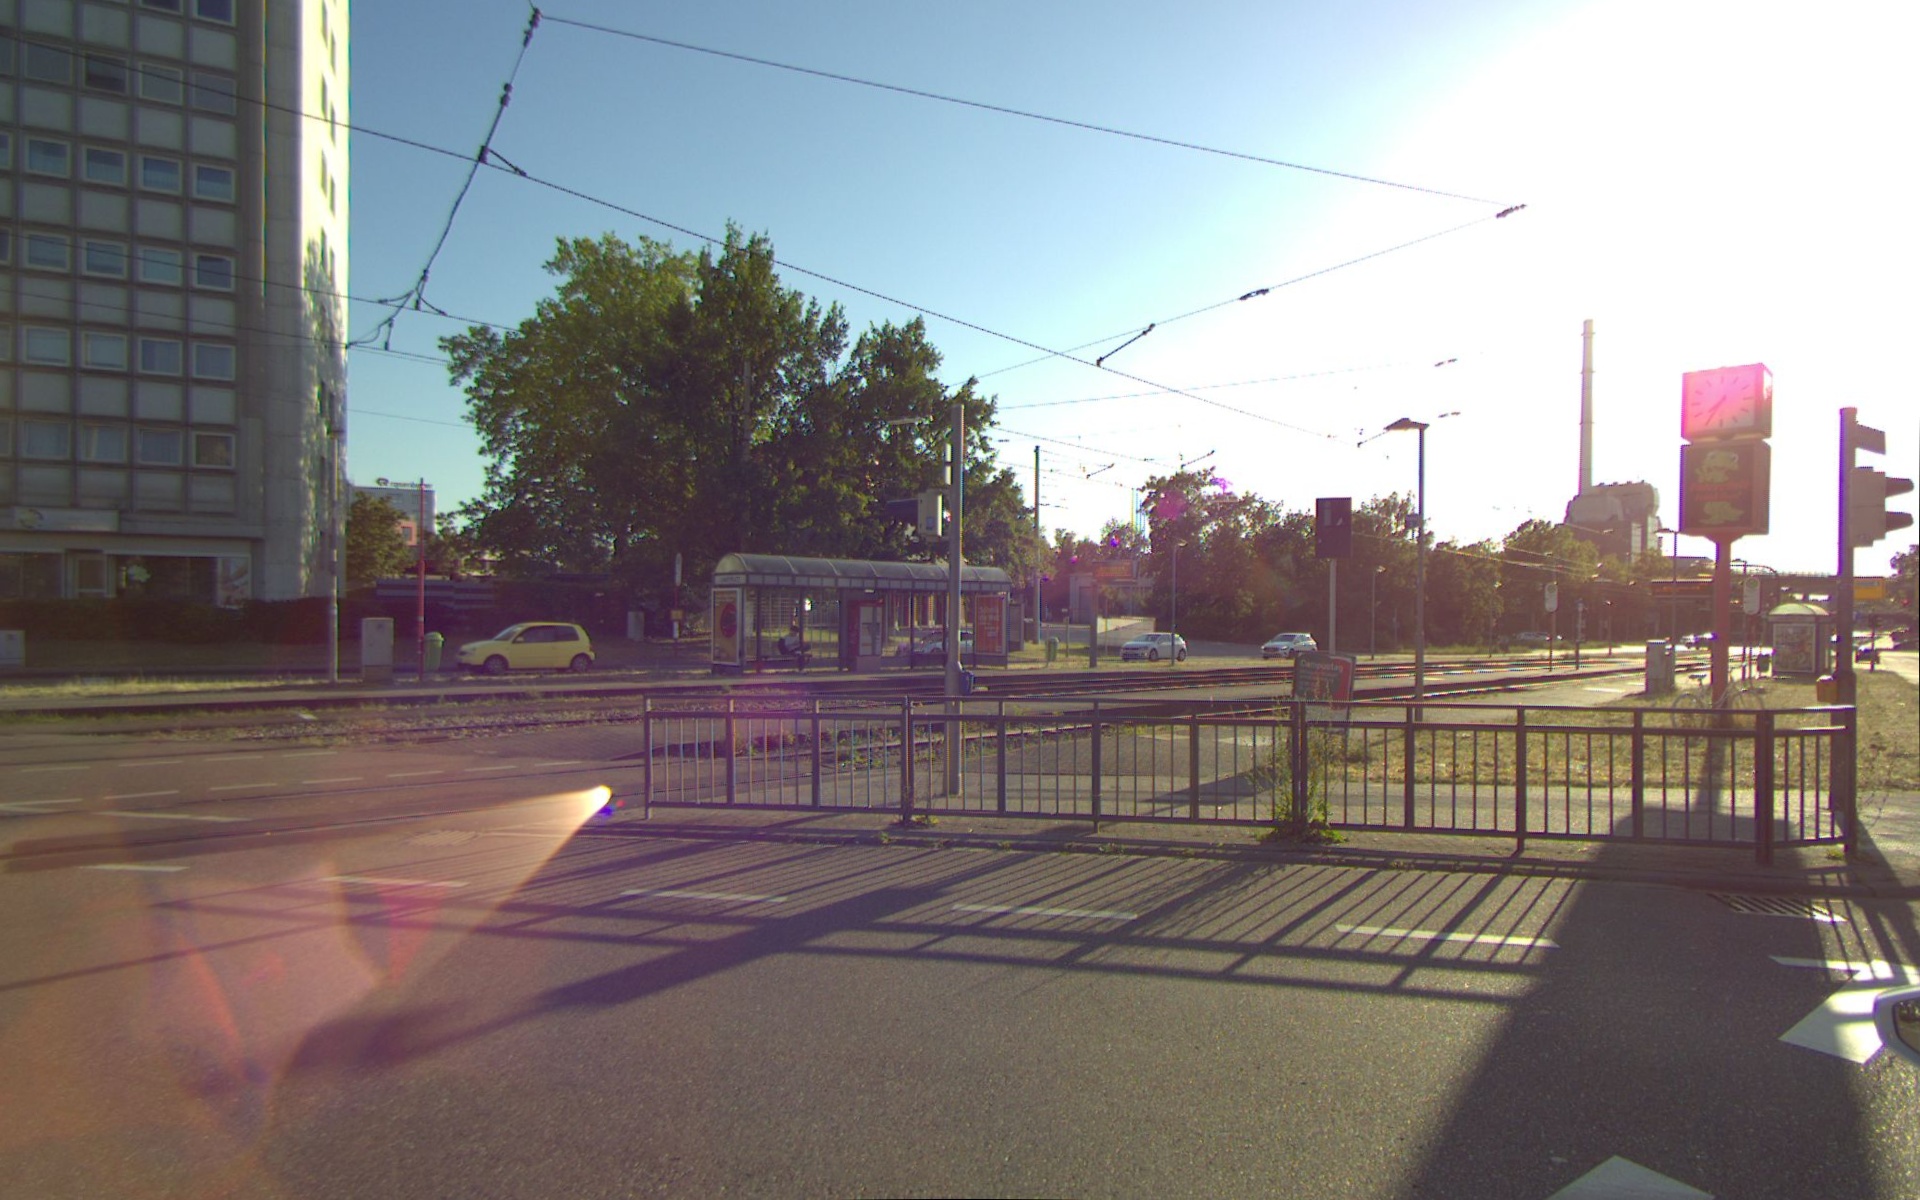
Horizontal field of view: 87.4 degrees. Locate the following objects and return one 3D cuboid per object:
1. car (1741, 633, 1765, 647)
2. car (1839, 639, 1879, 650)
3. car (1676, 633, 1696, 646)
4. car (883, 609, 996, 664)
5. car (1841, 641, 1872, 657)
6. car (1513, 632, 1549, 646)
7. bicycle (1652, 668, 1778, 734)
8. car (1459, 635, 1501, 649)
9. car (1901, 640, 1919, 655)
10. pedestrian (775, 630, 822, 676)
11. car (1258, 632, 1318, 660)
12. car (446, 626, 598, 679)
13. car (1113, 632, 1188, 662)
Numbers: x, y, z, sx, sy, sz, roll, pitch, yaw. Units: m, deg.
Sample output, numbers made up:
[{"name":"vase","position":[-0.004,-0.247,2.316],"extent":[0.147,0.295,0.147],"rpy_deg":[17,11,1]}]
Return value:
[{"name":"car","position":[124.289,6.239,157.444],"extent":[4.823,2.040,1.977],"rpy_deg":[2,-2,-40]},{"name":"car","position":[118.613,5.862,132.544],"extent":[3.944,1.465,1.764],"rpy_deg":[-1,-2,43]},{"name":"car","position":[118.839,6.445,164.416],"extent":[3.974,2.040,1.974],"rpy_deg":[2,-2,-45]},{"name":"car","position":[-0.751,1.416,39.150],"extent":[4.130,2.040,1.975],"rpy_deg":[2,-2,-42]},{"name":"car","position":[84.717,4.618,94.887],"extent":[2.016,1.465,3.976],"rpy_deg":[-1,-2,44]},{"name":"car","position":[76.150,5.141,134.043],"extent":[3.920,1.773,2.001],"rpy_deg":[0,-2,18]},{"name":"bicycle","position":[11.336,1.501,15.082],"extent":[1.713,0.930,0.553],"rpy_deg":[1,-2,-15]},{"name":"car","position":[69.939,5.648,135.227],"extent":[4.695,1.868,2.000],"rpy_deg":[-1,-1,18]},{"name":"car","position":[139.360,6.906,144.996],"extent":[1.974,2.040,4.828],"rpy_deg":[0,0,-27]},{"name":"pedestrian","position":[-4.302,1.397,26.747],"extent":[0.916,1.204,0.835],"rpy_deg":[2,-2,-43]},{"name":"car","position":[19.554,2.717,59.844],"extent":[1.639,1.552,4.364],"rpy_deg":[0,-2,45]},{"name":"car","position":[-12.136,1.411,27.943],"extent":[3.567,1.358,1.531],"rpy_deg":[1,-1,-43]},{"name":"car","position":[9.501,2.332,50.024],"extent":[1.783,1.385,3.941],"rpy_deg":[0,-2,45]}]
